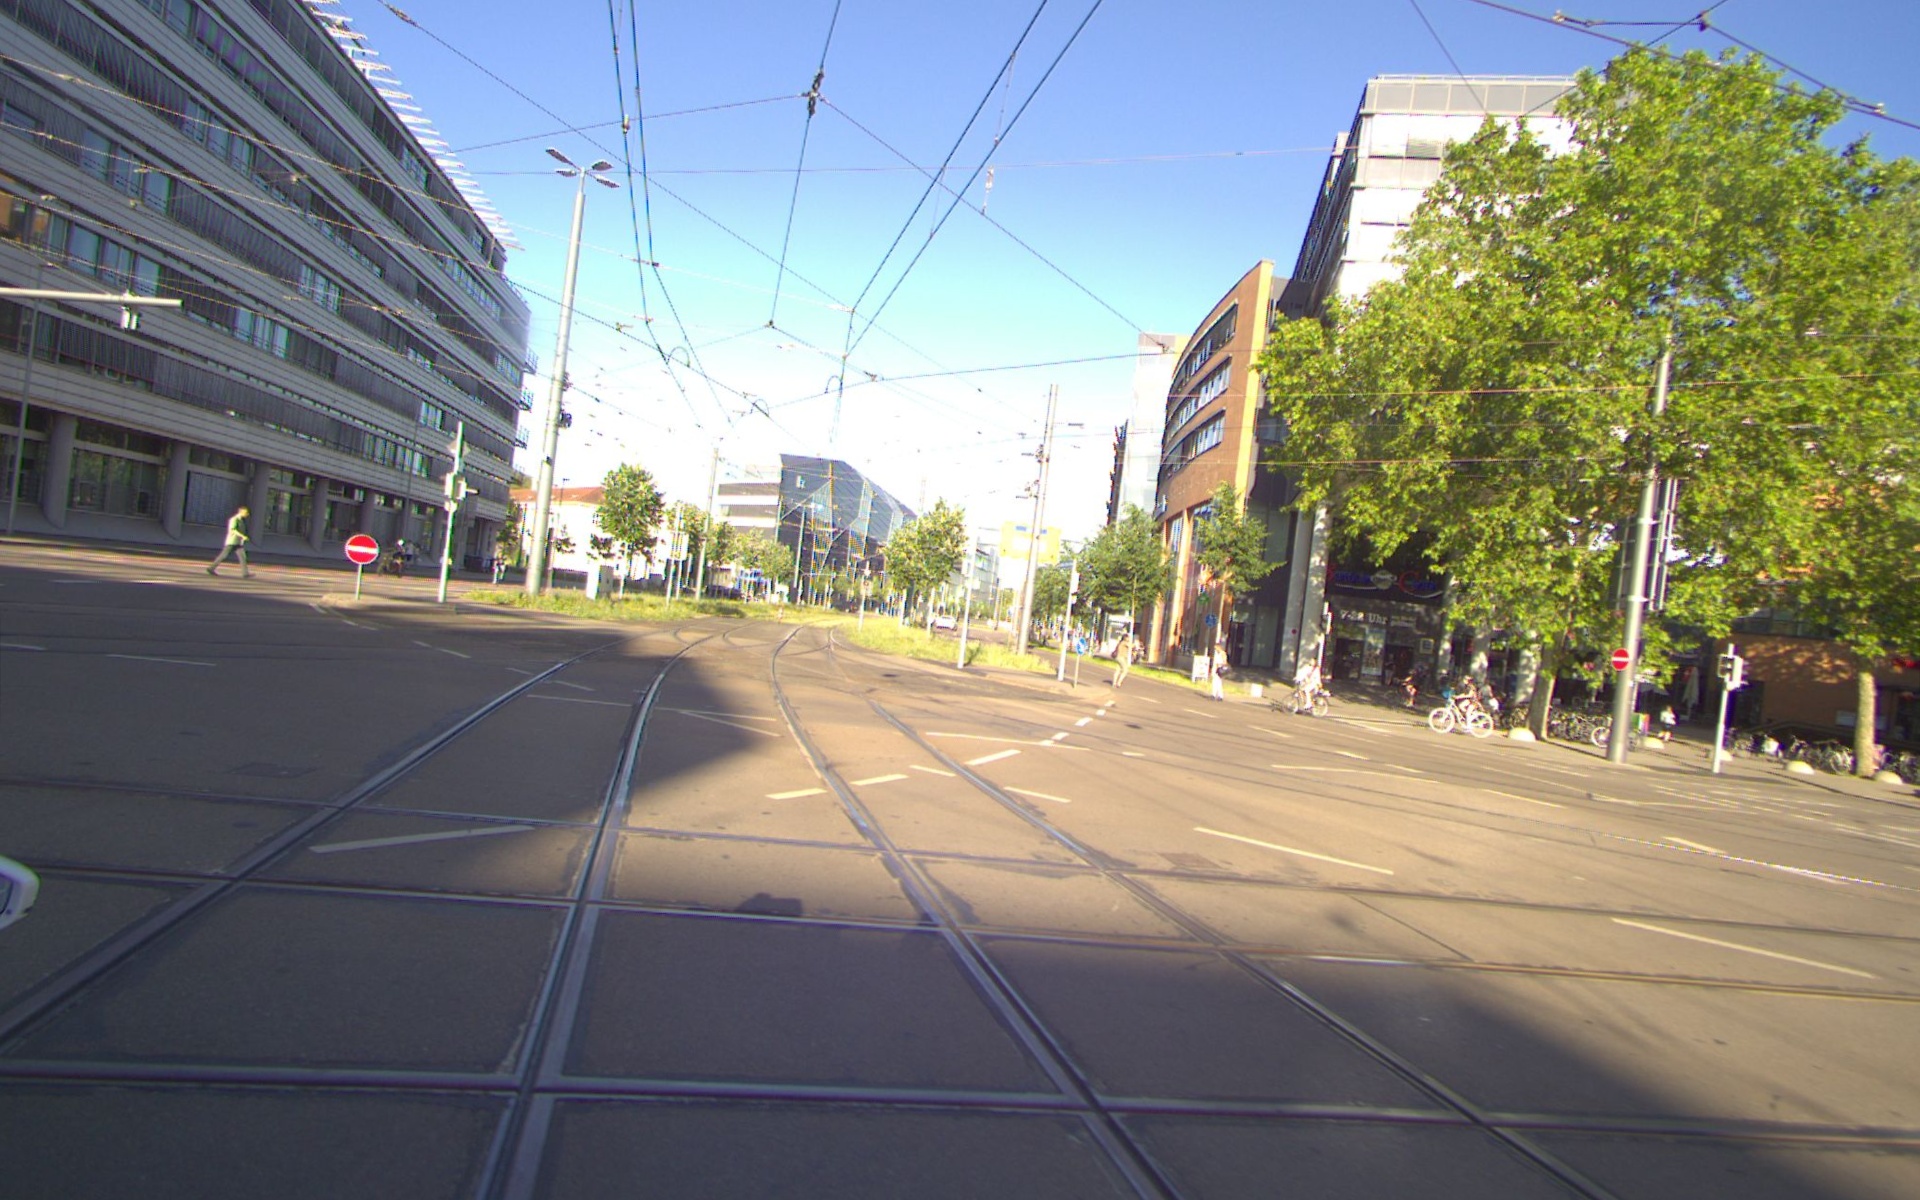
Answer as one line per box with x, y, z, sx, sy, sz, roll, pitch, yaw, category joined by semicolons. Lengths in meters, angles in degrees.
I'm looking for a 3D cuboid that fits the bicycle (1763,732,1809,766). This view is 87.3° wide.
31.446;5.683;38.288;2.914;1.105;0.867;8;0;-43;bicycle

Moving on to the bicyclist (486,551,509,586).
-23.969;-1.630;52.144;0.754;1.687;0.991;7;0;-13;bicyclist

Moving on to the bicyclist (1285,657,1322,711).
10.366;2.535;30.370;0.732;1.521;0.570;7;0;-4;bicyclist

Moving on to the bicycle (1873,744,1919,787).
32.266;5.685;34.638;2.914;1.250;0.867;8;0;-43;bicycle

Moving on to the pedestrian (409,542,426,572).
-33.065;-2.590;61.280;0.540;1.755;0.640;7;1;-9;pedestrian

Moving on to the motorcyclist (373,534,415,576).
-26.282;-2.059;46.736;1.004;1.752;1.460;7;0;-4;motorcyclist

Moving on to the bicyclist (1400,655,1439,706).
19.130;3.348;41.887;1.209;1.955;0.834;7;0;27;bicyclist

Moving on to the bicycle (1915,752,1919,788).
32.967;5.768;33.890;2.914;1.250;0.867;8;0;-43;bicycle

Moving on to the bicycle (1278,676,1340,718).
10.552;2.928;30.405;1.604;1.033;0.516;7;0;-5;bicycle

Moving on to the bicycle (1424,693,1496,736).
15.007;3.438;30.201;1.825;1.033;0.516;7;0;-4;bicycle

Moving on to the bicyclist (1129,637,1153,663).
11.200;3.095;62.423;1.024;1.398;1.564;8;0;-1;bicyclist

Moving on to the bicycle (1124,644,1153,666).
11.088;3.402;62.576;1.024;1.146;3.180;8;-1;-1;bicycle

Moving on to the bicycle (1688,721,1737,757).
29.314;5.386;39.244;0.862;1.104;2.930;8;0;26;bicycle

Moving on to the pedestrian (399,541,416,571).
-33.614;-2.680;61.195;0.540;1.755;0.640;7;1;-9;pedestrian

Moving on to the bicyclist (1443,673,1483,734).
15.098;3.094;30.199;0.732;1.715;0.570;7;0;-4;bicyclist

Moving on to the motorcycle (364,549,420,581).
-26.350;-1.610;46.770;0.969;1.246;2.942;7;-1;-4;motorcycle

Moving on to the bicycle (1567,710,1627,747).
21.415;4.312;33.838;1.679;0.998;0.390;7;0;-2;bicycle

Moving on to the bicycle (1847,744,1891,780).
33.253;5.907;36.783;2.914;1.105;0.867;8;0;-43;bicycle

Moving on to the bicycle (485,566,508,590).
-24.019;-1.145;52.109;0.634;1.121;1.681;8;-1;-13;bicycle

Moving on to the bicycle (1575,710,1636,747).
21.424;4.267;33.378;1.679;0.998;0.390;7;0;-2;bicycle

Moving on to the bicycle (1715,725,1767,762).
30.189;5.511;38.949;0.862;1.104;2.930;8;0;26;bicycle

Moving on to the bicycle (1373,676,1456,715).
18.934;3.957;41.920;2.997;1.127;0.834;7;0;27;bicycle

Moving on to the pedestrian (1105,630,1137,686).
4.901;1.771;30.660;0.649;1.601;0.488;7;1;-12;pedestrian

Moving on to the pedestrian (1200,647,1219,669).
13.839;3.221;55.805;0.771;1.070;0.814;7;0;7;pedestrian

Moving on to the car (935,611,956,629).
-1.460;2.102;103.146;1.873;1.525;4.002;9;-2;0;car

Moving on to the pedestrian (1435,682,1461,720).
21.520;4.463;44.374;0.764;1.545;0.564;7;0;18;pedestrian

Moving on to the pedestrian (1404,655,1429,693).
24.272;3.955;53.513;0.834;1.873;0.810;9;0;16;pedestrian

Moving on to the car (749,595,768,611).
-25.733;0.366;128.564;1.743;1.745;3.902;8;0;-6;car

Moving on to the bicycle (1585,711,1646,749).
21.449;4.256;32.925;1.679;0.998;0.390;7;0;-2;bicycle

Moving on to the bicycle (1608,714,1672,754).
21.549;4.247;31.900;1.679;0.998;0.390;7;0;-2;bicycle

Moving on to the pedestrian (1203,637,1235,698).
8.291;2.160;32.208;0.689;1.858;0.515;8;-1;20;pedestrian

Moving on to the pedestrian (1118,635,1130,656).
12.886;3.569;79.209;0.695;1.589;0.623;7;0;2;pedestrian

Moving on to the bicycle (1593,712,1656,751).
21.418;4.236;32.436;1.679;0.998;0.390;7;0;-2;bicycle

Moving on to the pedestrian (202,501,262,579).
-18.515;-1.518;25.592;0.870;1.845;0.676;6;0;-10;pedestrian

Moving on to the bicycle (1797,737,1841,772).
32.553;5.843;38.107;2.914;1.105;0.867;8;0;-43;bicycle
